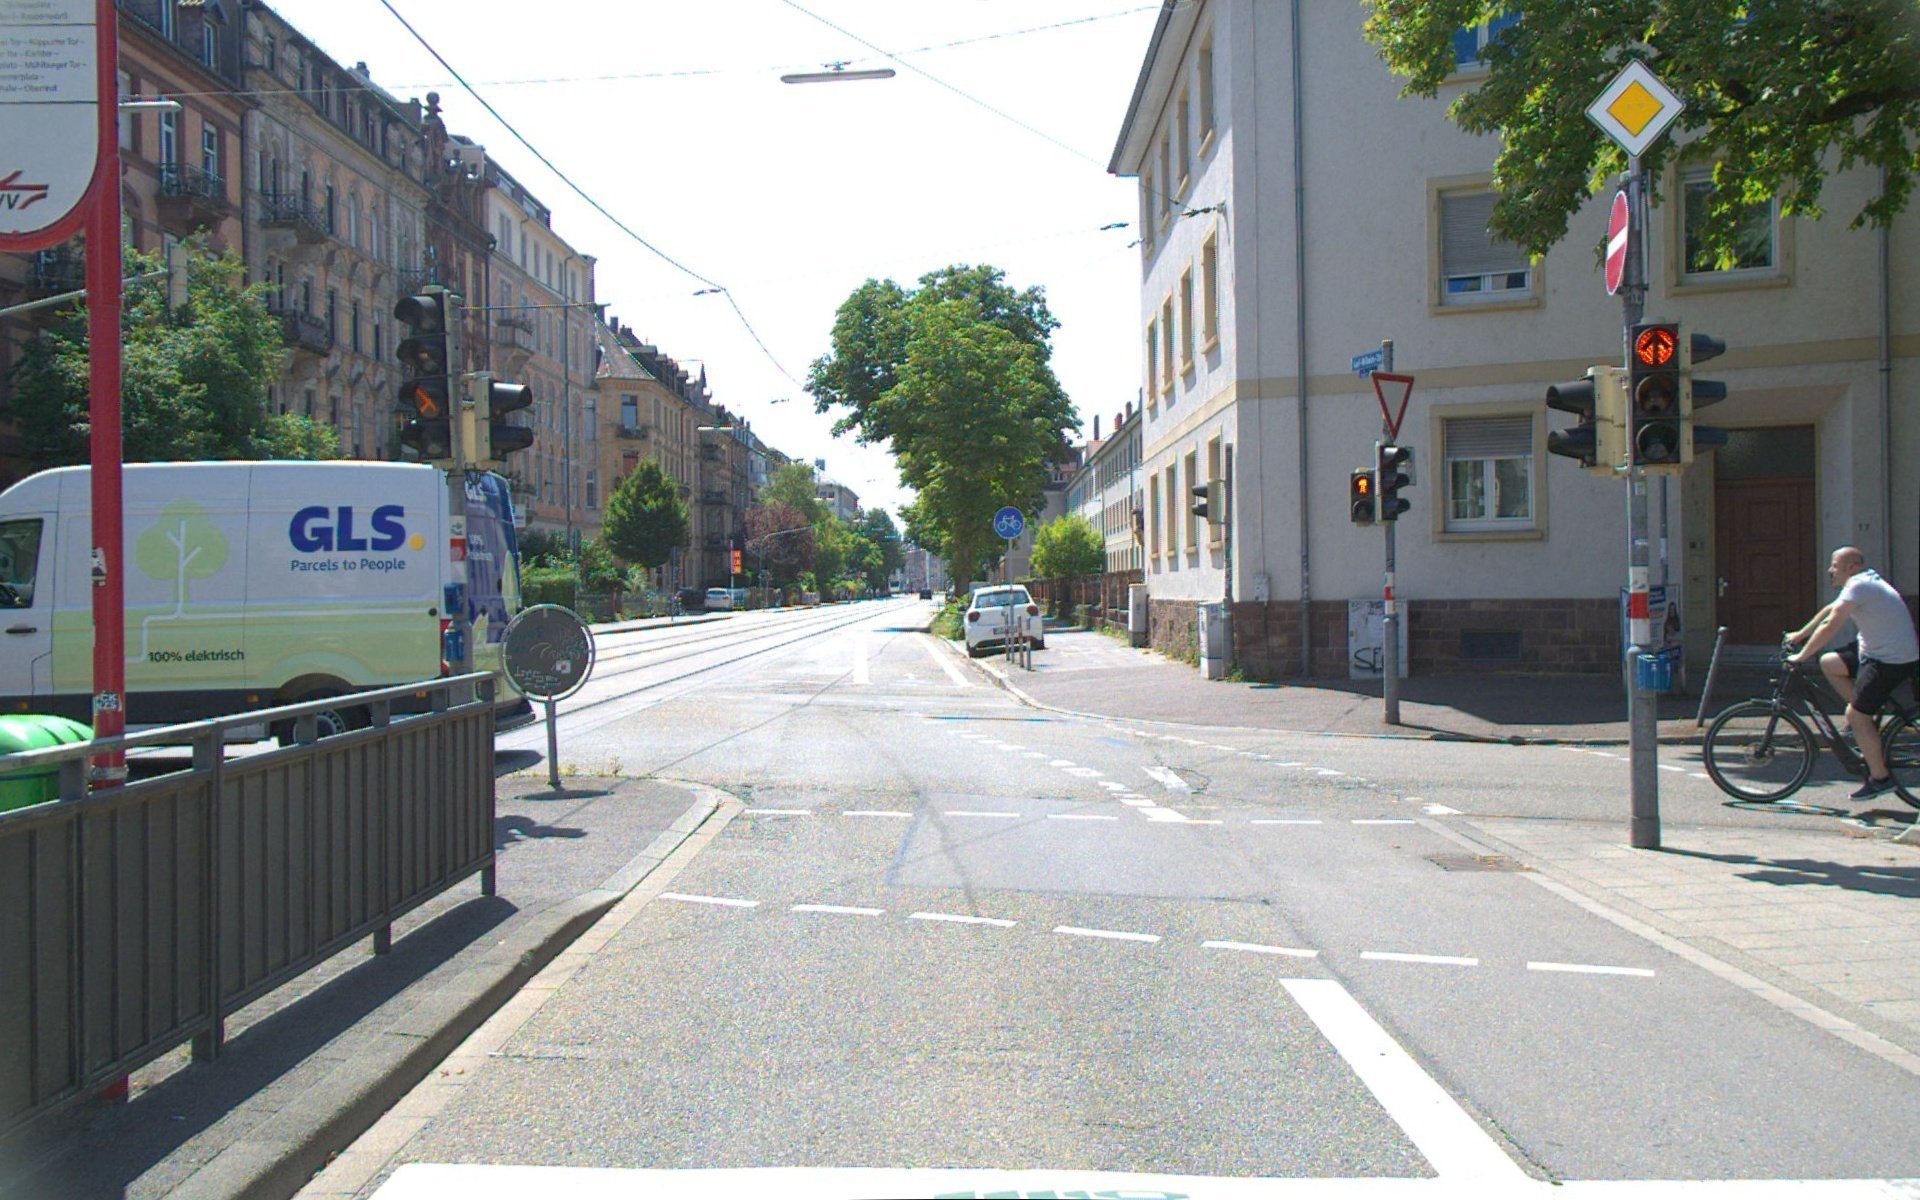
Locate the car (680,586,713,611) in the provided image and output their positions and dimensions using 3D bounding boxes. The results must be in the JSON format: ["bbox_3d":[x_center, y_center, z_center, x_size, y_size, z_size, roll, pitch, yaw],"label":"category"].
[{"bbox_3d":[-19.675,-0.097,123.606,1.880,1.745,3.999,1,0,-1],"label":"car"}]

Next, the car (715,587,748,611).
[{"bbox_3d":[-17.043,-0.053,123.572,1.880,1.745,3.999,1,0,-1],"label":"car"}]

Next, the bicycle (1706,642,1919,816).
[{"bbox_3d":[5.925,0.832,10.972,1.727,1.075,0.699,0,0,29],"label":"bicycle"}]

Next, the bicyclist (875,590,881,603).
[{"bbox_3d":[-11.127,-0.479,224.787,0.712,1.850,1.079,1,0,1],"label":"bicyclist"}]

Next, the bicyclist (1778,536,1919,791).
[{"bbox_3d":[5.912,0.403,10.975,0.831,1.620,0.699,0,0,29],"label":"bicyclist"}]

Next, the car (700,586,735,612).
[{"bbox_3d":[-16.875,-0.082,115.311,1.880,1.745,3.999,1,0,-1],"label":"car"}]

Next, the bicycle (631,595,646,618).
[{"bbox_3d":[-15.498,0.315,79.787,0.665,1.083,1.913,-1,0,-12],"label":"bicycle"}]

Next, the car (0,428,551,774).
[{"bbox_3d":[-6.725,0.027,14.441,5.690,2.720,2.274,-1,-1,-1],"label":"car"}]

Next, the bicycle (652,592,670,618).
[{"bbox_3d":[-15.275,0.228,84.434,0.664,1.301,1.917,-1,0,-4],"label":"bicycle"}]

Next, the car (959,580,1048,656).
[{"bbox_3d":[0.930,0.387,37.341,1.778,1.542,3.999,-3,0,-1],"label":"car"}]

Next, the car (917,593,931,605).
[{"bbox_3d":[-4.736,-0.174,215.983,1.788,1.545,3.999,1,0,-1],"label":"car"}]

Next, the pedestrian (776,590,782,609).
[{"bbox_3d":[-14.483,-0.024,132.351,0.398,1.486,0.436,-1,0,-1],"label":"pedestrian"}]
